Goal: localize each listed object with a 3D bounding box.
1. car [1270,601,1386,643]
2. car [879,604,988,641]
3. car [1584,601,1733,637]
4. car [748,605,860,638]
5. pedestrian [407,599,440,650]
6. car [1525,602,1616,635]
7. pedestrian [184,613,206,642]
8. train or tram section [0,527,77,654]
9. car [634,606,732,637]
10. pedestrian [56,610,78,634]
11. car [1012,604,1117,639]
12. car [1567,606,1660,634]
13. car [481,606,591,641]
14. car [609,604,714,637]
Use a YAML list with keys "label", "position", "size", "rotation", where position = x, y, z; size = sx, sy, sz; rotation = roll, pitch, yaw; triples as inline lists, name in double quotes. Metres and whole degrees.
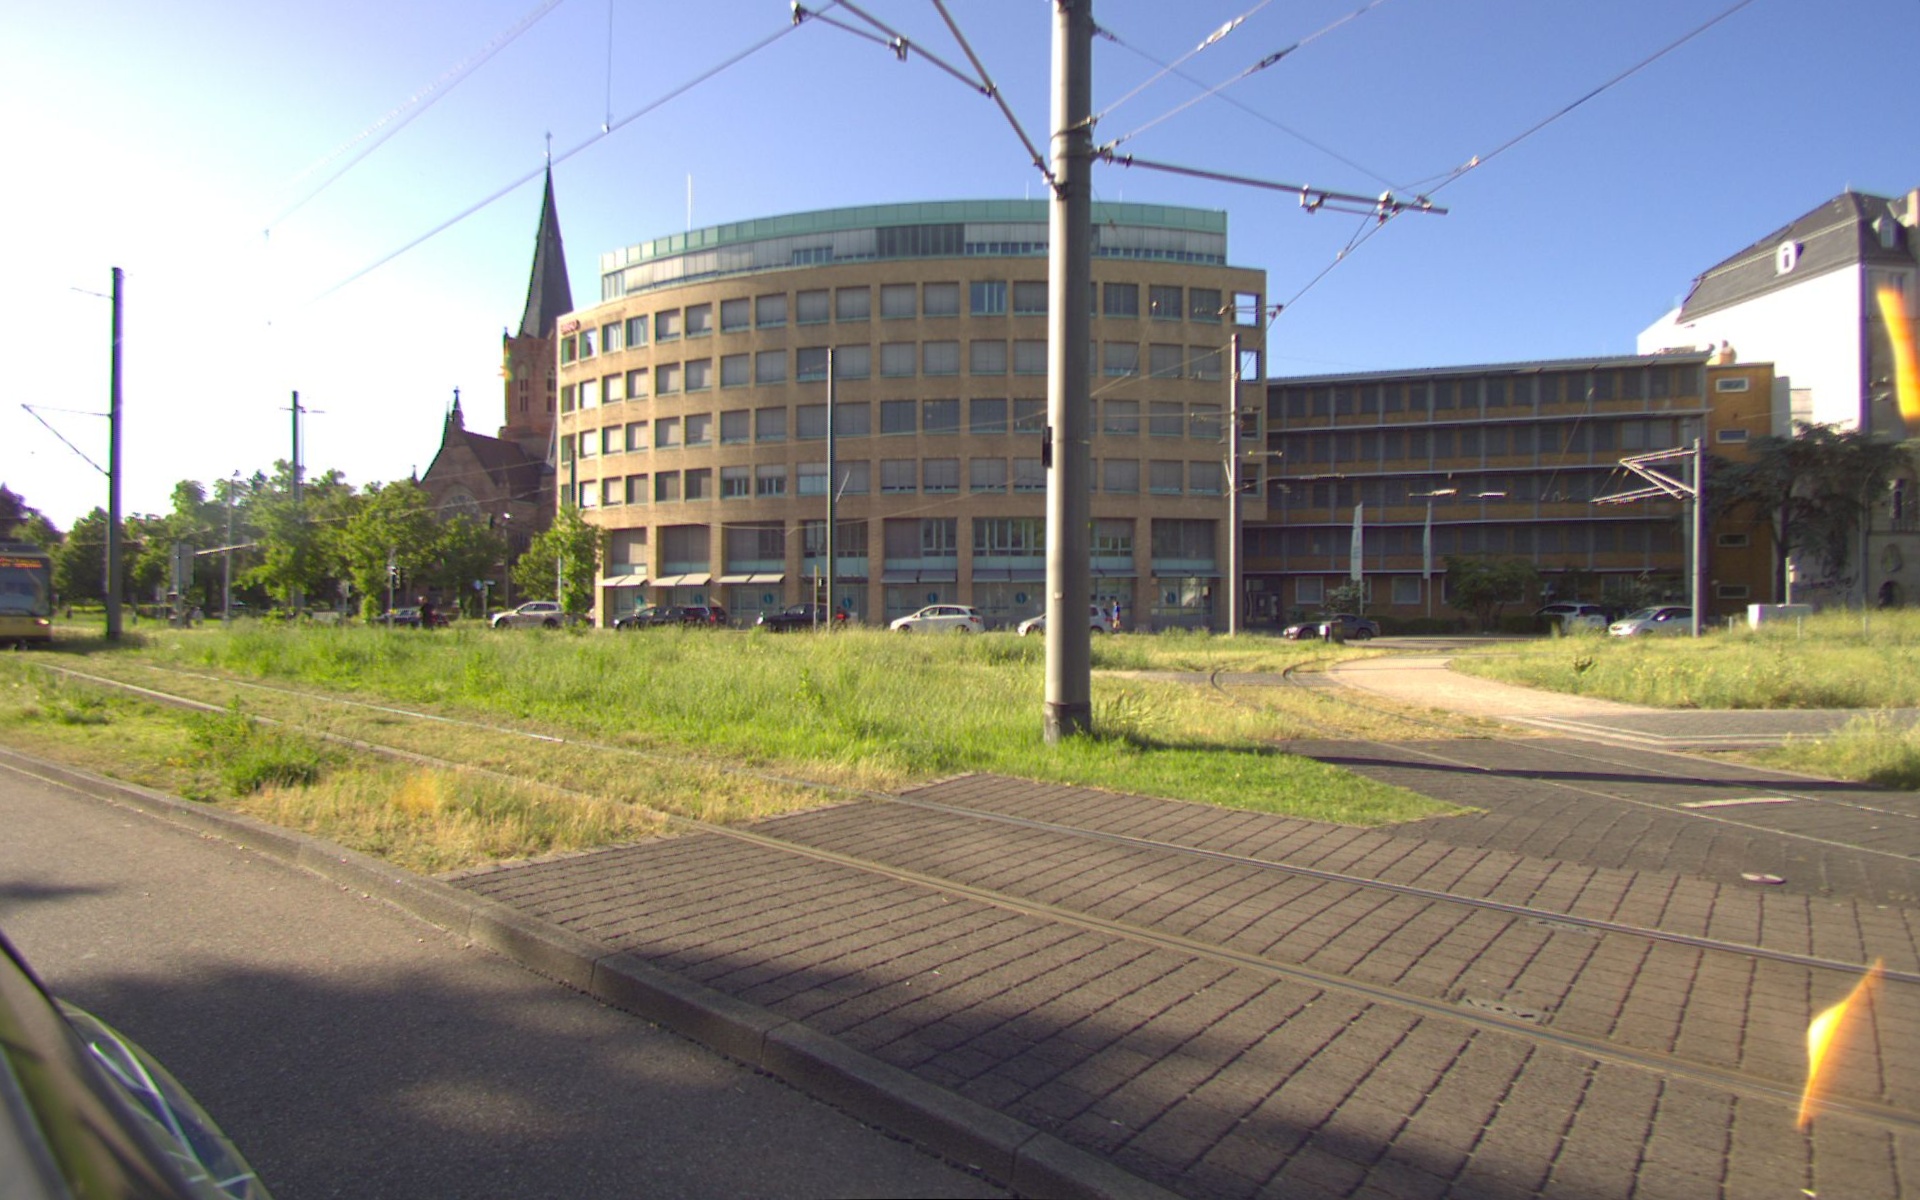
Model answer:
- label: "car"
  position: [15.381, 0.894, 42.501]
  size: [4.238, 1.524, 1.993]
  rotation: [3, 1, 12]
- label: "car"
  position: [-1.187, 1.002, 46.364]
  size: [4.613, 1.608, 1.991]
  rotation: [0, 1, 15]
- label: "car"
  position: [29.267, 0.775, 42.515]
  size: [4.710, 1.364, 1.996]
  rotation: [-1, 1, 7]
- label: "car"
  position: [-7.452, 0.992, 48.338]
  size: [4.980, 1.458, 1.988]
  rotation: [0, 1, 19]
- label: "pedestrian"
  position: [-18.171, 0.828, 34.294]
  size: [0.742, 1.683, 0.728]
  rotation: [-1, 0, 33]
- label: "car"
  position: [33.222, 0.978, 55.219]
  size: [1.967, 1.593, 4.011]
  rotation: [-1, 1, -13]
- label: "pedestrian"
  position: [-55.454, 1.991, 73.396]
  size: [0.917, 2.029, 0.874]
  rotation: [0, 1, 17]
- label: "train or tram section"
  position: [-33.531, -0.202, 33.137]
  size: [13.131, 3.713, 2.929]
  rotation: [-1, 0, 30]
- label: "car"
  position: [-16.135, 1.247, 58.958]
  size: [5.165, 1.680, 2.114]
  rotation: [0, 1, 16]
- label: "pedestrian"
  position: [-72.300, 1.769, 81.962]
  size: [1.104, 1.860, 0.841]
  rotation: [0, 1, 14]
- label: "car"
  position: [4.641, 0.935, 44.764]
  size: [4.464, 1.437, 1.993]
  rotation: [0, 1, 12]
- label: "car"
  position: [35.772, 1.076, 55.514]
  size: [1.967, 1.351, 4.011]
  rotation: [-1, 1, -13]
- label: "car"
  position: [-21.858, 1.209, 52.268]
  size: [5.038, 1.747, 2.097]
  rotation: [-1, 0, 15]
- label: "car"
  position: [-14.763, 0.992, 50.113]
  size: [4.619, 1.528, 1.990]
  rotation: [0, 1, 15]
